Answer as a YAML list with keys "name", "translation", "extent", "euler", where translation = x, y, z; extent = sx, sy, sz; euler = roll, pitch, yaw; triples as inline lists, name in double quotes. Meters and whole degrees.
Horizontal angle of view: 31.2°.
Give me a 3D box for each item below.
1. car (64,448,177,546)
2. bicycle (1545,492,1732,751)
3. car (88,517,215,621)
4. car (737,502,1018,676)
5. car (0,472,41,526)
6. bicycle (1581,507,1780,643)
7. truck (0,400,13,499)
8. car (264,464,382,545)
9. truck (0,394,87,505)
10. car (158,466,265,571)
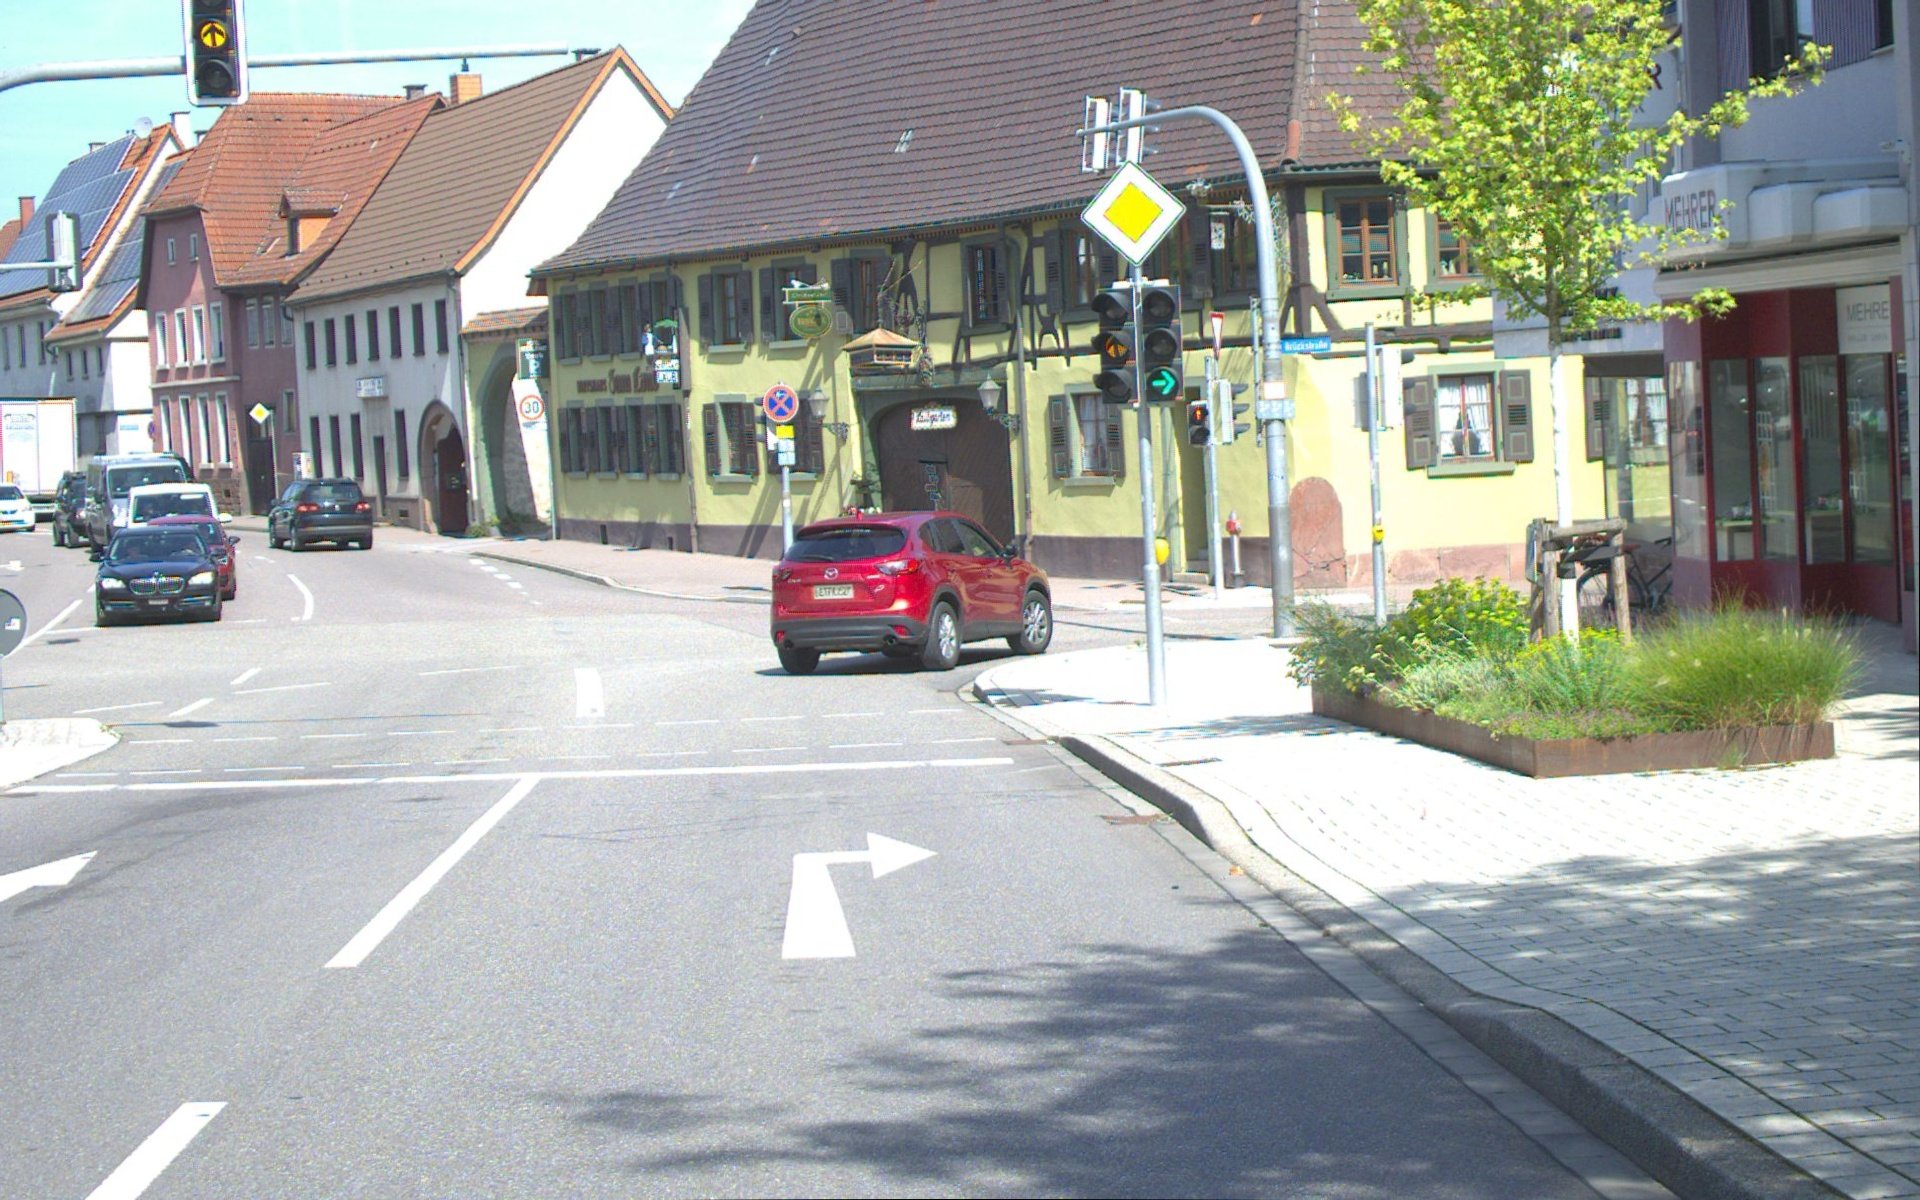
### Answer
- name: "car"
  translation: [-19.879, -2.464, 81.317]
  extent: [1.757, 2.238, 4.554]
  euler: [-1, 2, -24]
- name: "bicycle"
  translation: [3.660, 0.080, 18.678]
  extent: [0.529, 1.275, 1.992]
  euler: [-5, 2, 1]
- name: "car"
  translation: [-12.757, -0.531, 54.430]
  extent: [1.820, 1.429, 4.250]
  euler: [-3, 3, -12]
- name: "car"
  translation: [-0.823, -0.155, 36.903]
  extent: [1.806, 1.657, 3.809]
  euler: [-2, 2, 18]
- name: "car"
  translation: [-28.684, -2.978, 101.768]
  extent: [1.786, 1.521, 4.005]
  euler: [-5, 4, -30]
- name: "bicycle"
  translation: [7.121, -0.254, 34.005]
  extent: [1.803, 1.230, 0.549]
  euler: [-3, 2, -3]
- name: "truck"
  translation: [-36.850, -5.315, 123.173]
  extent: [3.159, 3.448, 10.713]
  euler: [-1, 2, -29]
- name: "car"
  translation: [-14.783, -2.240, 79.626]
  extent: [1.820, 1.732, 4.006]
  euler: [-4, 4, -22]
- name: "truck"
  translation: [-31.917, -4.995, 114.482]
  extent: [3.223, 3.537, 9.232]
  euler: [-1, 3, -29]
- name: "car"
  translation: [-15.088, -1.685, 69.180]
  extent: [1.820, 1.899, 4.966]
  euler: [-3, 4, -14]
